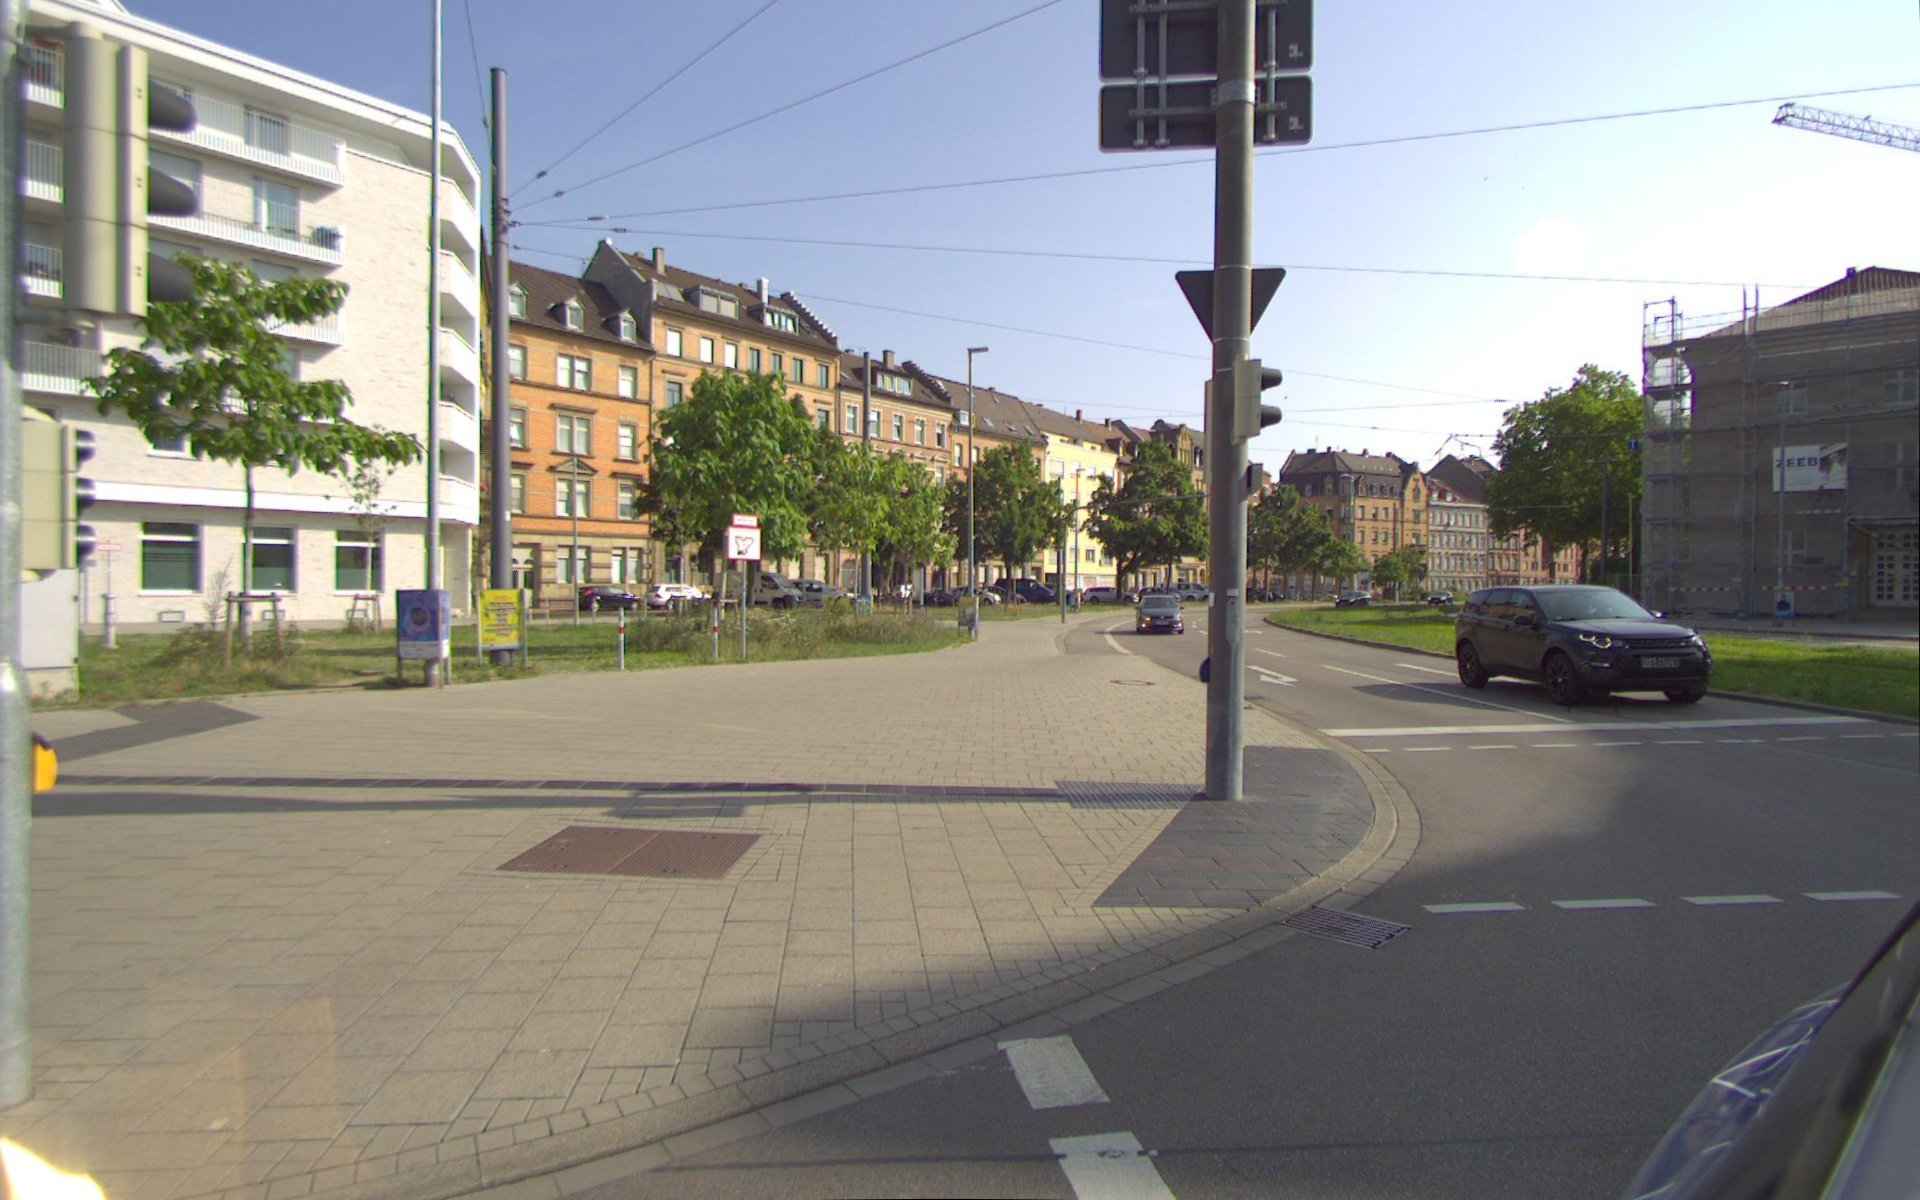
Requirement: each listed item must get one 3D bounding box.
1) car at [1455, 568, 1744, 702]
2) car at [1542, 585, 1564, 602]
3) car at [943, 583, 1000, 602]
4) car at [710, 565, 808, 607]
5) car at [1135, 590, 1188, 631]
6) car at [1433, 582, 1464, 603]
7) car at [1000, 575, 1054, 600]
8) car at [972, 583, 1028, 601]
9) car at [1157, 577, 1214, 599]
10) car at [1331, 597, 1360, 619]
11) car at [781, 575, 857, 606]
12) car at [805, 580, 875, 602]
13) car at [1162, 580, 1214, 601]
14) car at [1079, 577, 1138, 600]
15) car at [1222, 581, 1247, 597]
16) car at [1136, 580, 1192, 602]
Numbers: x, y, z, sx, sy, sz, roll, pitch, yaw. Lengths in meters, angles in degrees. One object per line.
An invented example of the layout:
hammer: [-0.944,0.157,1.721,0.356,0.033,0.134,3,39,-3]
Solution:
car: [9.285,0.421,15.181,1.770,1.699,4.218,1,1,3]
car: [76.787,-0.844,131.049,1.989,2.003,3.946,-1,1,38]
car: [0.799,-0.544,68.996,3.789,1.265,1.719,0,0,7]
car: [-10.927,-0.772,55.129,4.971,2.206,1.872,0,0,14]
car: [7.588,0.375,38.401,1.616,1.437,3.889,0,1,6]
car: [50.055,-0.787,103.681,1.991,2.039,3.941,0,1,41]
car: [4.900,-0.907,73.455,3.792,1.828,1.782,0,0,9]
car: [2.827,-0.546,70.865,3.789,1.265,1.719,0,0,7]
car: [20.841,-1.117,93.455,4.835,1.861,1.721,1,1,2]
car: [30.947,0.593,81.173,1.643,1.655,3.958,0,1,30]
car: [-7.952,-0.549,57.328,3.915,1.728,1.877,0,0,7]
car: [-7.033,-0.555,59.366,3.789,1.265,1.719,0,0,7]
car: [20.427,-0.836,90.886,4.343,1.787,1.719,1,1,6]
car: [12.210,-0.937,83.333,4.669,1.787,1.715,2,1,14]
car: [31.153,-1.224,114.864,2.735,1.754,1.329,0,0,-39]
car: [17.669,-0.770,87.536,4.669,1.787,1.715,2,1,14]
